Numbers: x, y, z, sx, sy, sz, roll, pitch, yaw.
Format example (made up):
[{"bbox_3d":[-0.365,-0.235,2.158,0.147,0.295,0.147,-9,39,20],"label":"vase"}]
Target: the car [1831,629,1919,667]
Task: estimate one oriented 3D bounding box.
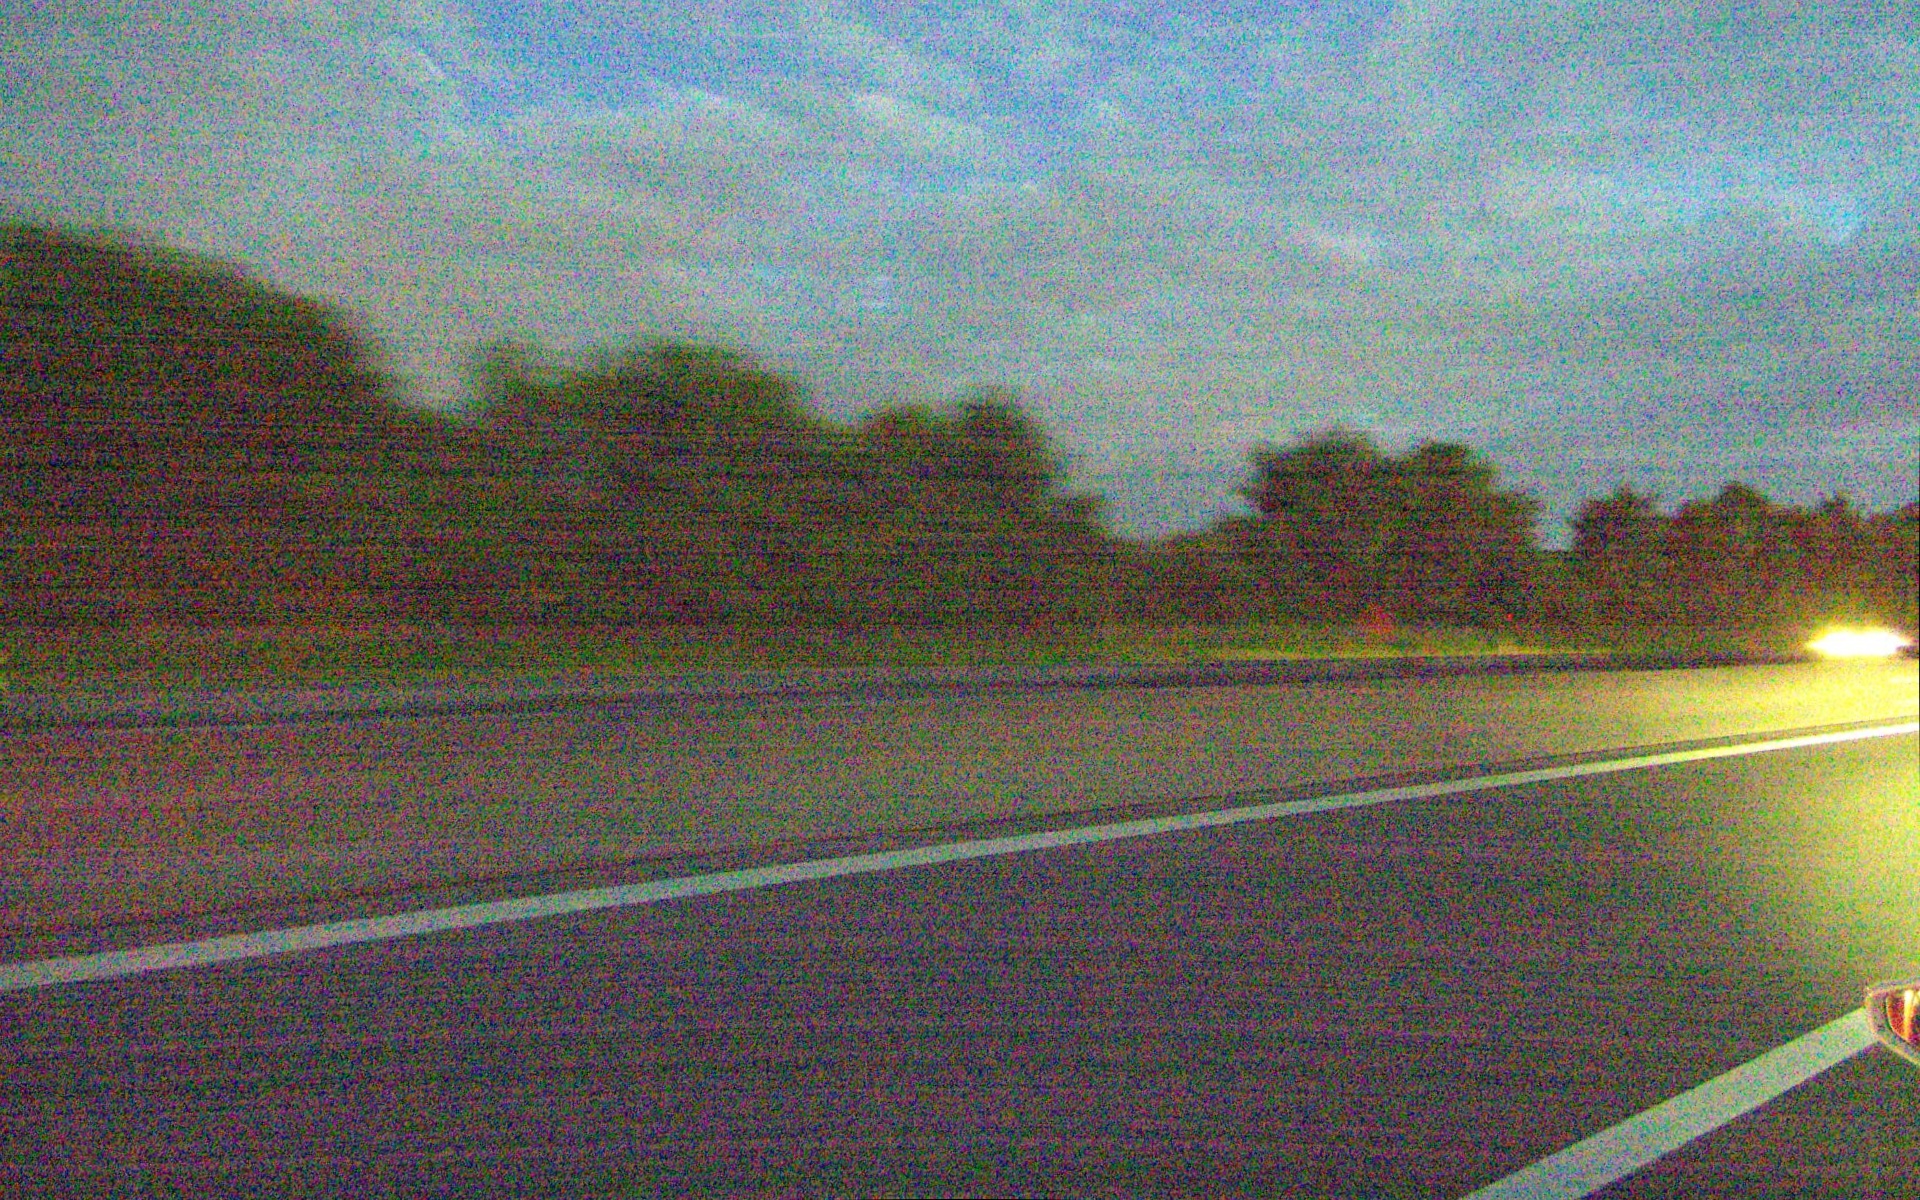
[{"bbox_3d":[44.772,2.368,49.018,4.987,1.656,1.894,3,1,-30],"label":"car"}]
